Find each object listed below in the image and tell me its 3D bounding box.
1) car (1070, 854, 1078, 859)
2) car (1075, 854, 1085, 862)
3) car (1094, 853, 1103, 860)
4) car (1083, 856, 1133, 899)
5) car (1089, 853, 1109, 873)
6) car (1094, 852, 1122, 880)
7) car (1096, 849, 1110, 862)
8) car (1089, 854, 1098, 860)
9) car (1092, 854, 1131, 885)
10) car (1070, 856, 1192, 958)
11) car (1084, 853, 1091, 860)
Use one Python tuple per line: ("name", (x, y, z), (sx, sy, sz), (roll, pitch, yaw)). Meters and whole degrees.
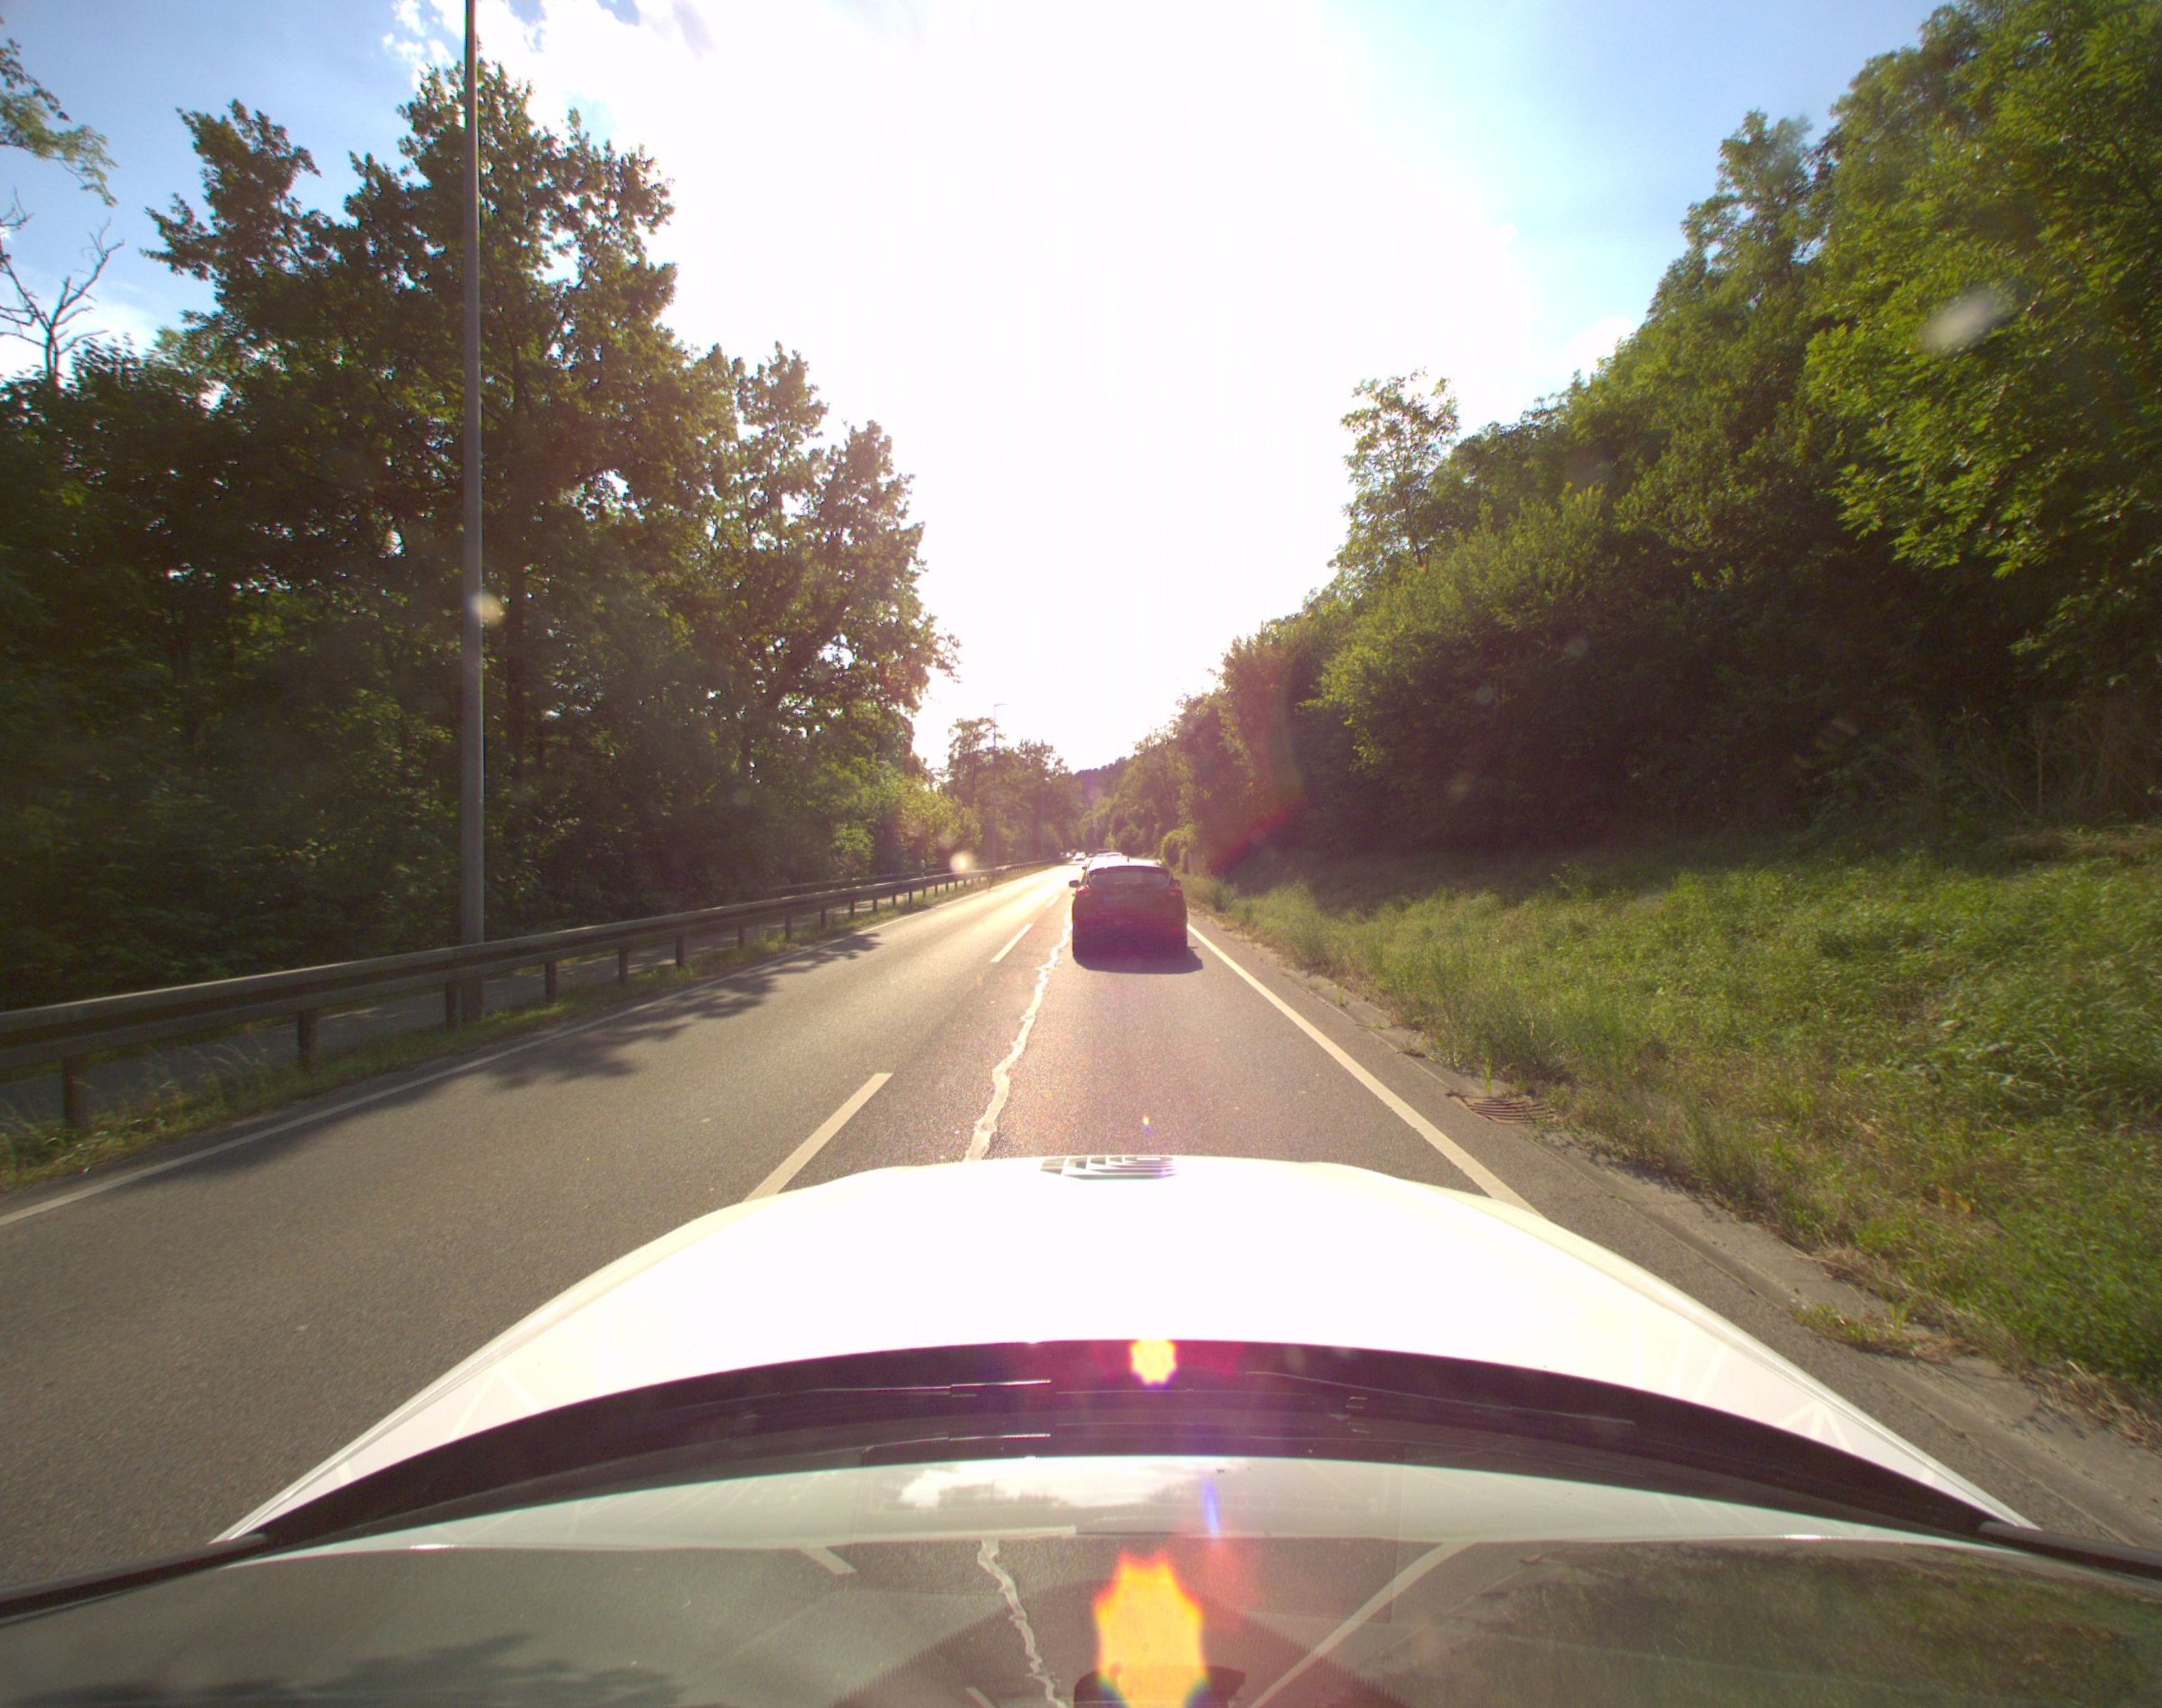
("car", (-2.190, 0.754, 258.417), (1.991, 1.519, 3.992), (-1, 0, -6))
("car", (-0.136, 0.711, 146.365), (1.617, 1.377, 4.048), (-2, 0, 1))
("car", (3.528, 0.514, 166.885), (1.812, 1.519, 4.002), (-1, 0, 2))
("car", (1.023, 0.789, 29.597), (1.654, 1.418, 4.003), (-1, 0, 3))
("car", (1.606, 0.764, 70.546), (1.624, 1.596, 4.002), (-1, 0, 2))
("car", (1.674, 0.698, 50.025), (1.624, 1.596, 4.002), (-1, 0, 2))
("car", (3.249, 0.232, 121.973), (1.858, 1.780, 3.996), (-1, 0, -3))
("car", (3.315, 0.820, 221.492), (1.991, 1.519, 3.992), (-1, 0, -6))
("car", (1.495, 0.736, 39.861), (1.798, 1.391, 4.002), (-1, 0, 2))
("car", (0.785, 0.775, 13.722), (1.733, 1.456, 4.002), (0, 0, 2))
("car", (1.490, 0.543, 188.677), (1.675, 1.463, 4.198), (-1, 0, 1))
